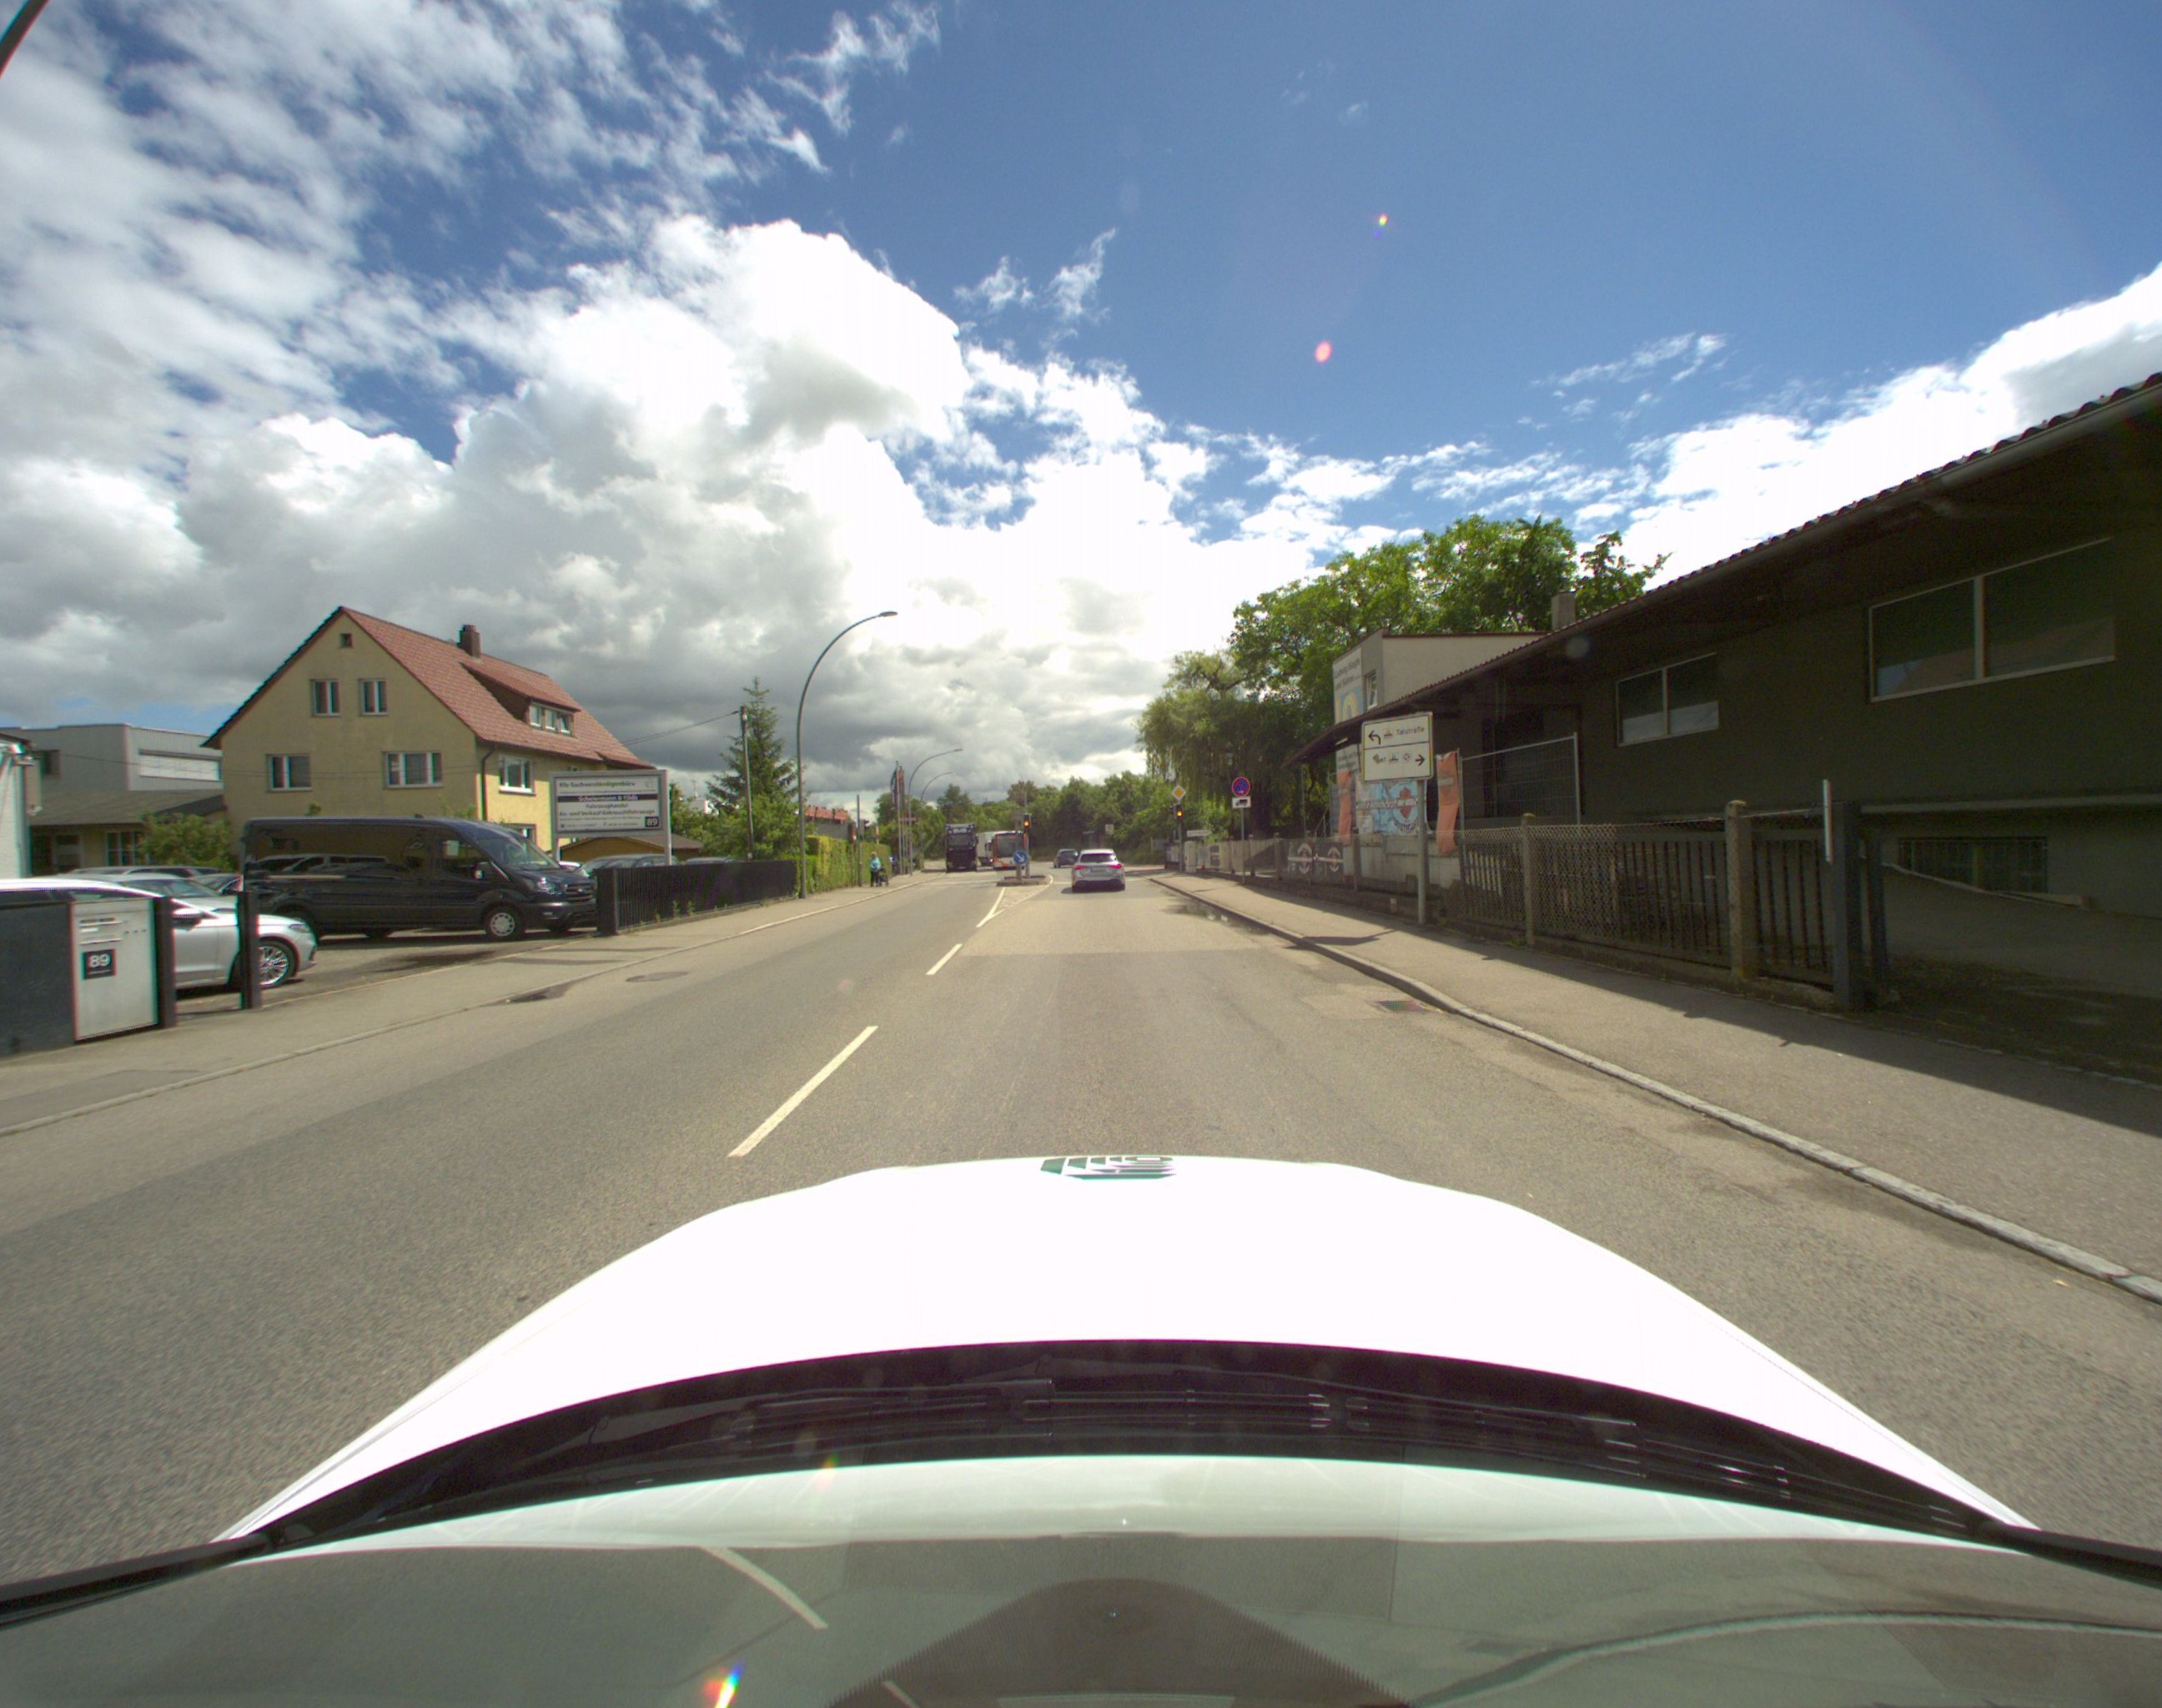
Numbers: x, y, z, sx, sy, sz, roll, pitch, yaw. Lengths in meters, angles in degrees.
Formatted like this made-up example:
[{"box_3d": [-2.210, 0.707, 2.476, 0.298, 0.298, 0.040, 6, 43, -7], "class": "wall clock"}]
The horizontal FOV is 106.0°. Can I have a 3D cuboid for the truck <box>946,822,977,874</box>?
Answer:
[{"box_3d": [-10.228, -0.465, 70.284, 2.426, 4.131, 9.128, 0, 0, -7], "class": "truck"}]

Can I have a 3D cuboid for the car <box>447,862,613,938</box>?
[{"box_3d": [-13.868, 1.074, 20.815, 1.774, 1.618, 3.991, -3, 0, -6], "class": "car"}]

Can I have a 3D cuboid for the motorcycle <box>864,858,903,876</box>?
[{"box_3d": [-13.470, 0.886, 55.609, 2.478, 1.218, 0.931, -1, 0, 21], "class": "motorcycle"}]

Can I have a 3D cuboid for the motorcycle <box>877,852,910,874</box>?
[{"box_3d": [-14.772, 0.734, 64.252, 2.282, 1.683, 1.047, -1, -1, 21], "class": "motorcycle"}]

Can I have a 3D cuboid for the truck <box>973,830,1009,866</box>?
[{"box_3d": [-9.823, -0.603, 87.962, 2.842, 3.540, 9.685, -2, 0, -12], "class": "truck"}]

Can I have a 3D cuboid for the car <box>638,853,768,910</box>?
[{"box_3d": [-11.457, 0.762, 25.073, 2.149, 1.506, 4.262, -2, 0, -4], "class": "car"}]

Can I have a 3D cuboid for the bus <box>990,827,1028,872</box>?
[{"box_3d": [-6.107, -0.374, 68.757, 2.773, 3.266, 12.101, -3, 0, -5], "class": "bus"}]

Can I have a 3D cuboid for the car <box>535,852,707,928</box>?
[{"box_3d": [-11.349, 0.811, 20.501, 2.027, 1.595, 4.278, -2, 0, -4], "class": "car"}]

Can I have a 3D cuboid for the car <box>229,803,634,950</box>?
[{"box_3d": [-12.818, 0.400, 16.492, 6.020, 2.496, 2.476, -2, 0, -2], "class": "car"}]

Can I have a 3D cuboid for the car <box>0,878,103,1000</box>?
[{"box_3d": [-14.056, 1.088, 8.617, 1.833, 1.426, 4.343, -2, 0, 10], "class": "car"}]

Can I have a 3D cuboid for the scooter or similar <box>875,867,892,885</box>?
[{"box_3d": [-9.059, 1.011, 37.408, 0.610, 0.831, 0.659, 0, 0, -1], "class": "scooter or similar"}]

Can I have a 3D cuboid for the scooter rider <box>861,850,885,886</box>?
[{"box_3d": [-9.618, 0.650, 37.716, 0.876, 1.589, 0.796, -2, 0, -1], "class": "scooter rider"}]

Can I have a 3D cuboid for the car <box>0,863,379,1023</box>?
[{"box_3d": [-11.453, 0.939, 9.103, 1.981, 1.486, 5.355, -2, 0, 10], "class": "car"}]

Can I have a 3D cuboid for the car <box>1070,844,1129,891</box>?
[{"box_3d": [0.605, 0.424, 28.774, 1.879, 1.508, 3.999, -2, 0, 0], "class": "car"}]

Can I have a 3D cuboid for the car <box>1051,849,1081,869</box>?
[{"box_3d": [-1.209, 0.363, 63.567, 1.884, 1.508, 3.989, -2, 0, -8], "class": "car"}]
